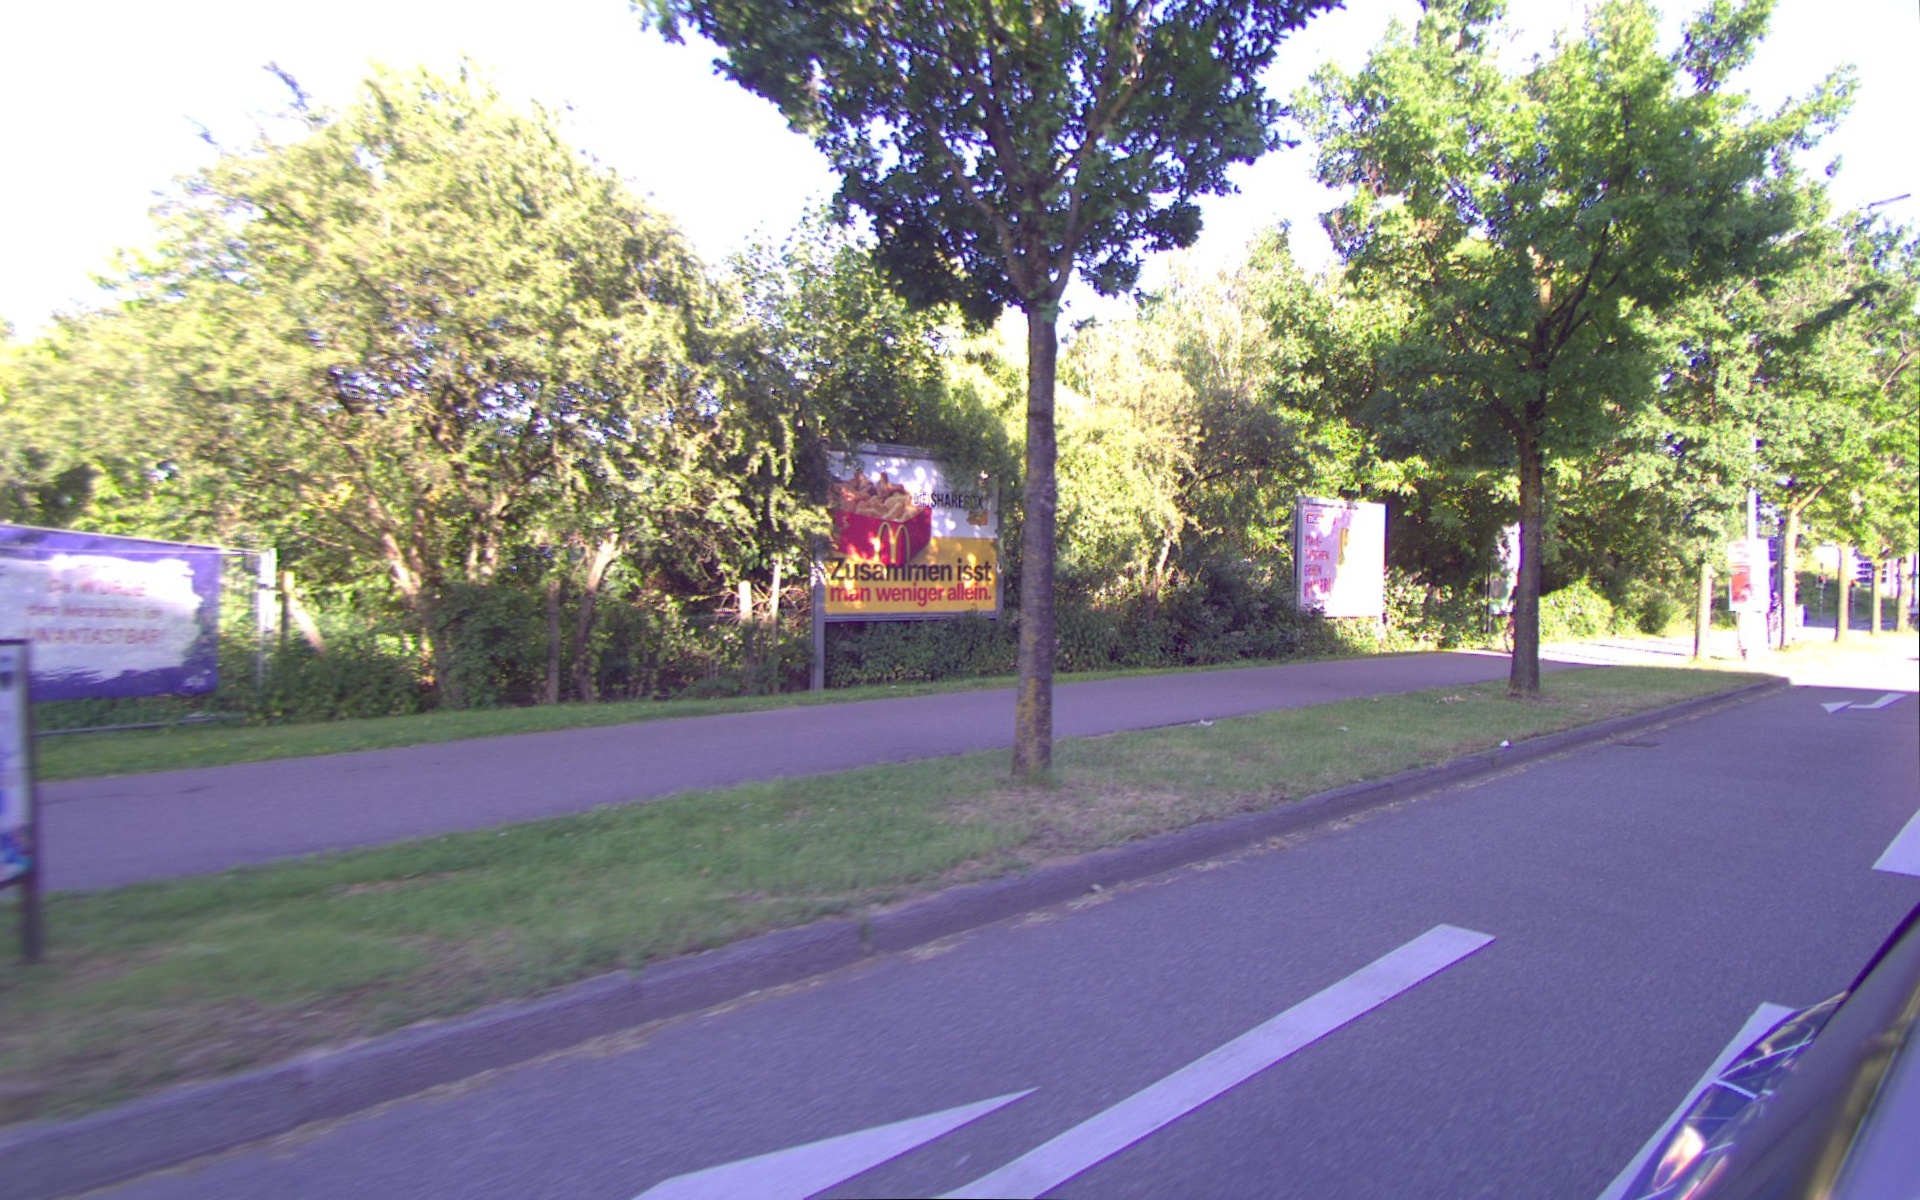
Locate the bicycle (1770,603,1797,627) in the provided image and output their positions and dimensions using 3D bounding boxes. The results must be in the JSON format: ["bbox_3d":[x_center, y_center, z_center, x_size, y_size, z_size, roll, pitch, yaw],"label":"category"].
[{"bbox_3d":[34.919,0.627,42.914,2.011,1.004,0.572,1,1,-43],"label":"bicycle"}]

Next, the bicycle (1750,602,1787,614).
[{"bbox_3d":[47.161,0.471,59.071,0.830,0.629,2.187,3,2,14],"label":"bicycle"}]

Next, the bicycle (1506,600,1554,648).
[{"bbox_3d":[13.624,0.553,24.168,0.516,1.086,1.905,2,1,45],"label":"bicycle"}]

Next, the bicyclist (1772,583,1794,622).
[{"bbox_3d":[34.774,0.102,42.762,0.850,1.630,0.566,0,1,-42],"label":"bicyclist"}]

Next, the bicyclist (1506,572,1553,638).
[{"bbox_3d":[13.505,0.106,23.990,0.685,1.541,1.019,2,1,45],"label":"bicyclist"}]
